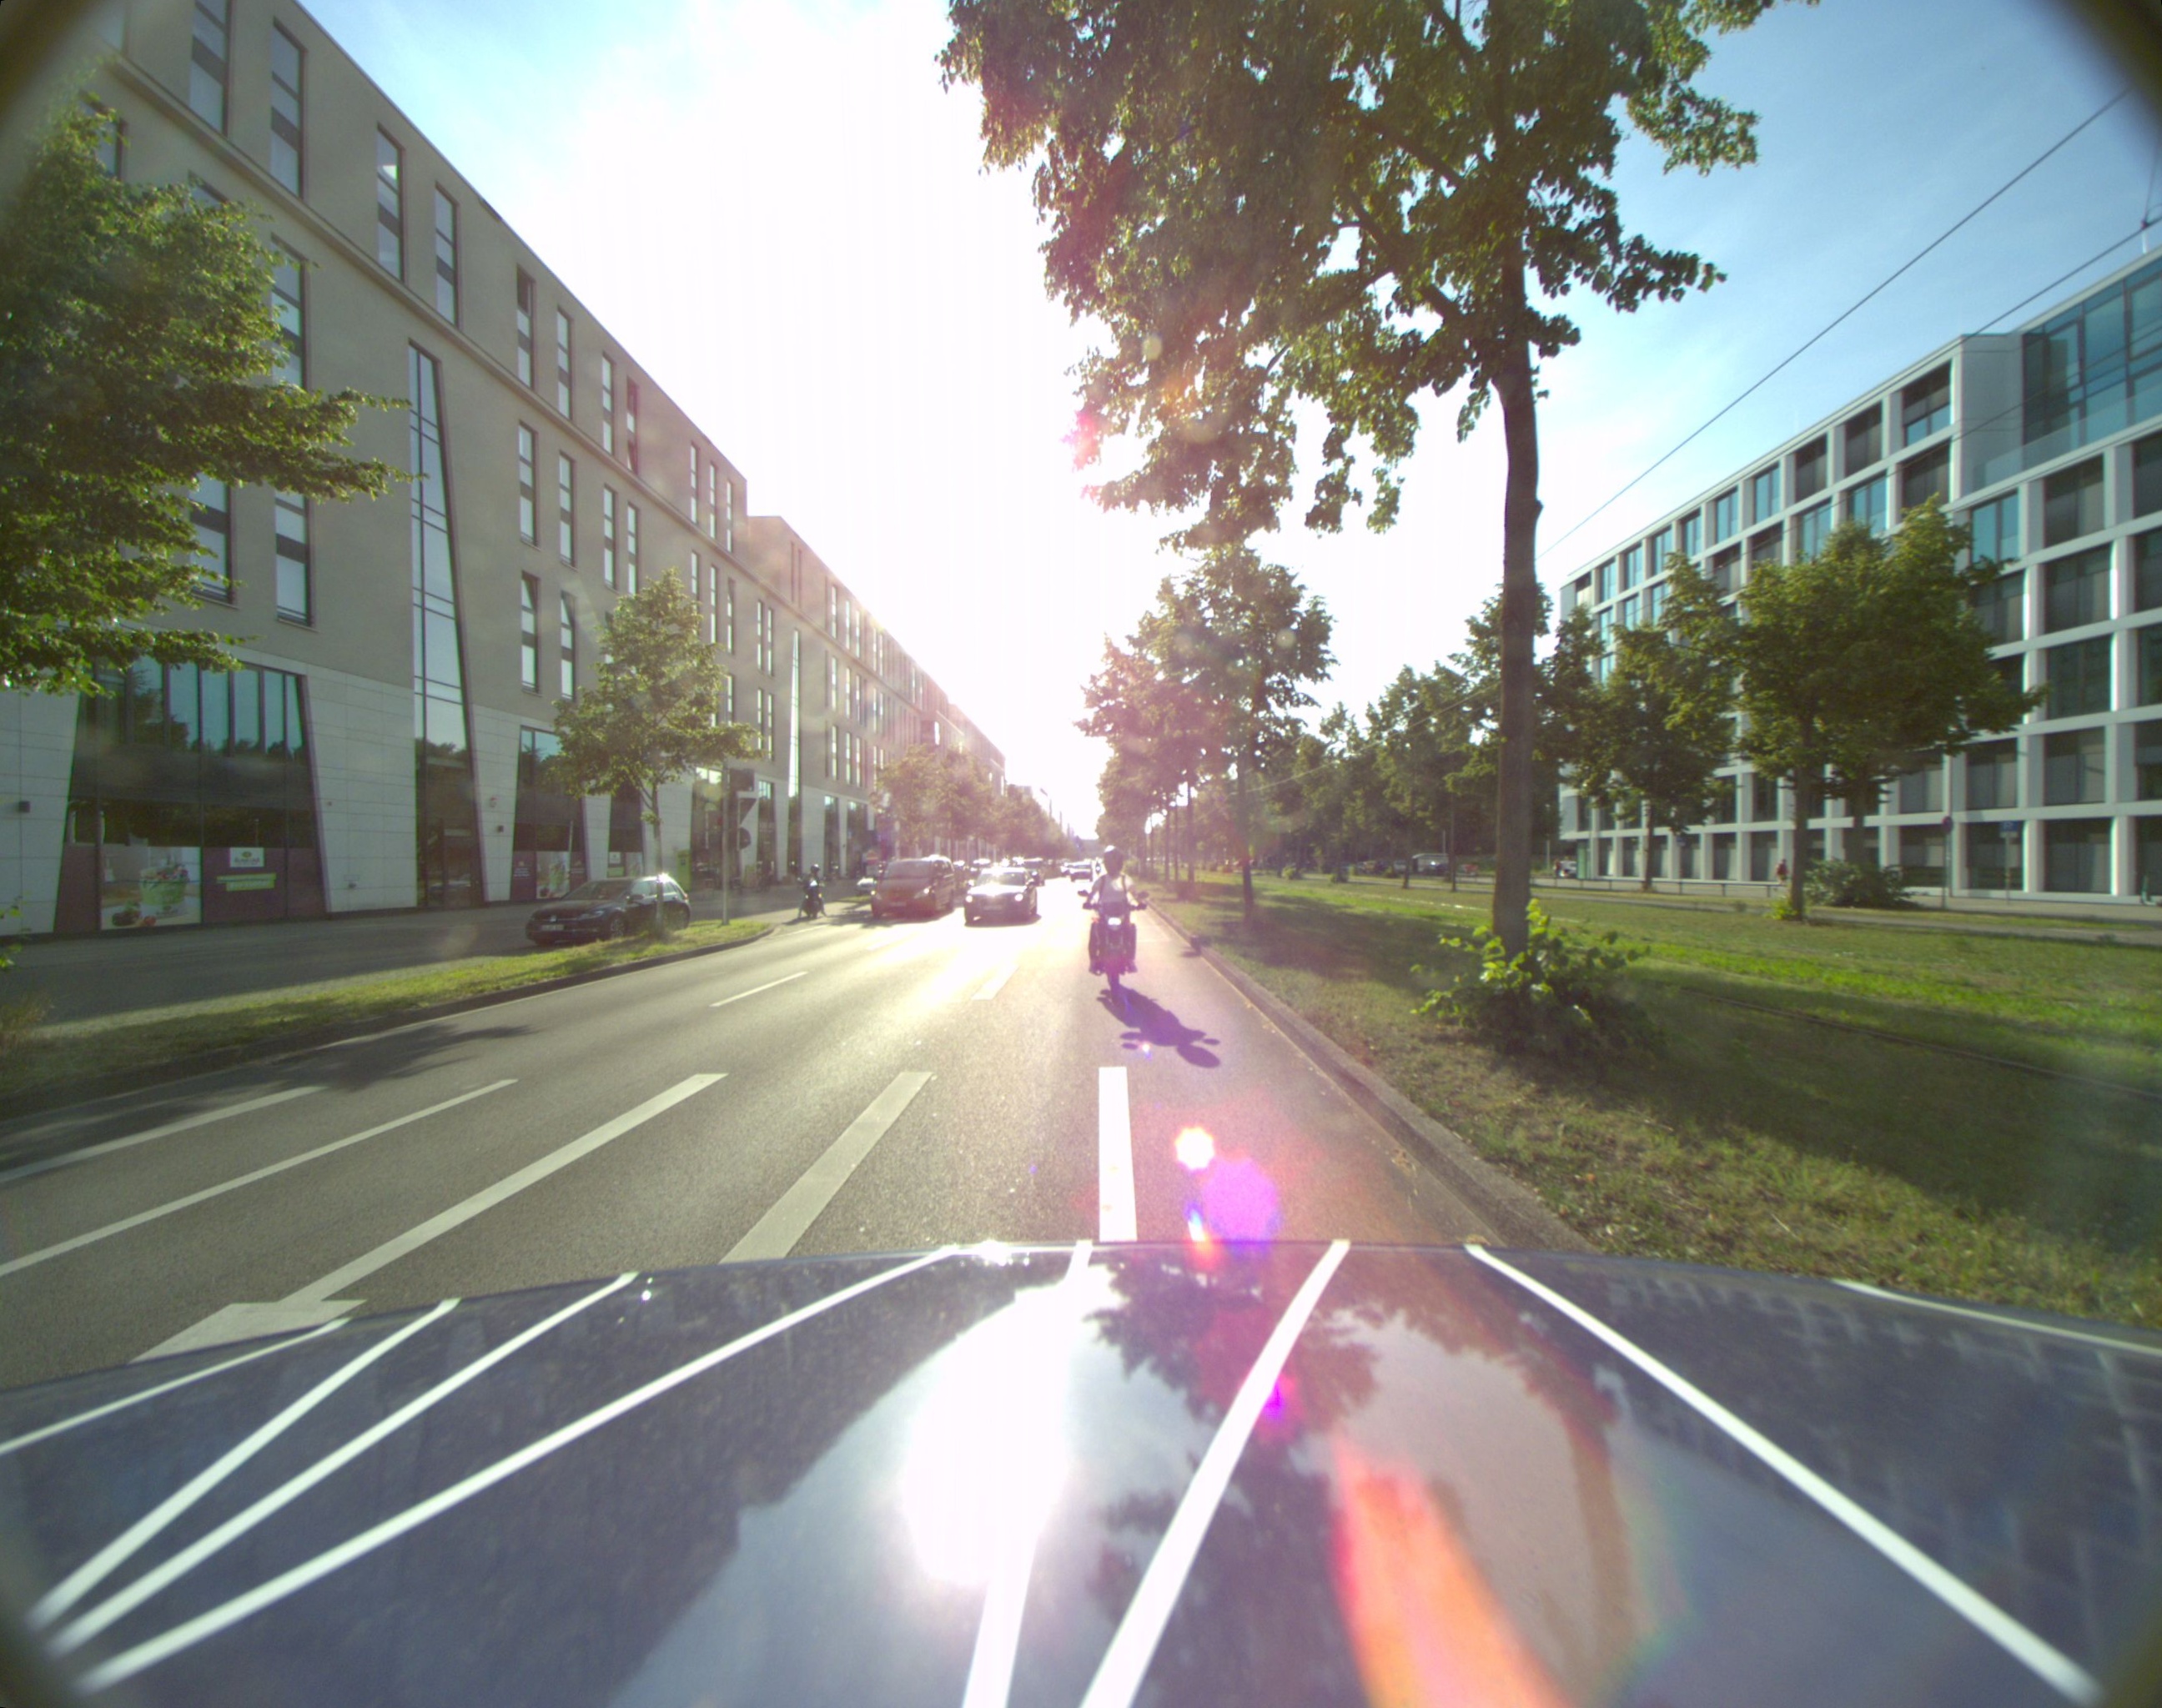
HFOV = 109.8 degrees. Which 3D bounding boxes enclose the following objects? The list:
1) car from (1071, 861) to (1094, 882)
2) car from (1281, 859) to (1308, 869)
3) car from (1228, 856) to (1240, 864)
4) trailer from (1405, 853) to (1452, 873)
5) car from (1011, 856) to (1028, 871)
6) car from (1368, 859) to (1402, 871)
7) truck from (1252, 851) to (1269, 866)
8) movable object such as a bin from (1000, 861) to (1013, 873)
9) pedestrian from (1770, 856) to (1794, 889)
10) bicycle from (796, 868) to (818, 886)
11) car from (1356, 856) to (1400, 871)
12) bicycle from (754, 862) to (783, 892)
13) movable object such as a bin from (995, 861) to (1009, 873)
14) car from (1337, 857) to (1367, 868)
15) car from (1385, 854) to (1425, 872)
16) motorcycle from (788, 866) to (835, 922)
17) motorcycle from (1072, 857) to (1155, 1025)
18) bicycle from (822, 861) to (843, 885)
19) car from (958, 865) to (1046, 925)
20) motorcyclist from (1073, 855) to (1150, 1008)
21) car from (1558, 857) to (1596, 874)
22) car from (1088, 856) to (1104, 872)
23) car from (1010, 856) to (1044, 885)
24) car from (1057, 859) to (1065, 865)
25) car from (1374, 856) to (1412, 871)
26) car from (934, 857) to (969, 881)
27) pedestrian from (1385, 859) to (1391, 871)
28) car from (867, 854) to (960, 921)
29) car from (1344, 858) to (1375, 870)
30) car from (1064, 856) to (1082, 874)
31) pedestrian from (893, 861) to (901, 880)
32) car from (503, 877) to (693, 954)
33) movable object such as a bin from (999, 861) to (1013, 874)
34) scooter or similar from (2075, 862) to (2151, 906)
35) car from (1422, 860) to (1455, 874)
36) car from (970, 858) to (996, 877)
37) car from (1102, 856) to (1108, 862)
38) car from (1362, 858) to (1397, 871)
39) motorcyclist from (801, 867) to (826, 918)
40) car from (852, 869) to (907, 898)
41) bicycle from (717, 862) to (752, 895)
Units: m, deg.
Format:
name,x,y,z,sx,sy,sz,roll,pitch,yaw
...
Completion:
name,x,y,z,sx,sy,sz,roll,pitch,yaw
car,0.170,1.376,61.506,1.739,1.499,4.000,-2,0,1
car,33.076,1.581,117.584,1.689,1.427,4.027,-3,1,-27
car,30.644,1.274,152.319,1.834,1.423,4.475,-2,0,3
trailer,38.517,1.017,84.255,4.373,2.042,1.758,-2,1,5
car,-8.324,1.221,103.546,1.842,1.865,5.030,-2,0,-1
car,38.500,1.390,96.337,3.576,1.417,1.726,-2,1,2
truck,43.449,1.027,184.026,2.894,3.495,7.947,-2,1,6
movable object such as a bin,-8.164,1.467,83.634,1.280,1.229,1.191,-2,1,-2
pedestrian,37.371,0.994,40.515,0.569,1.718,0.691,-2,1,2
bicycle,-17.254,1.454,47.960,0.635,1.077,1.905,0,0,2
car,40.153,1.256,102.808,5.071,1.725,1.886,-2,1,4
bicycle,-17.214,1.261,41.922,0.557,1.558,2.212,-2,1,2
movable object such as a bin,-8.391,1.383,80.793,1.280,1.284,1.178,-2,1,-2
car,40.261,1.284,112.850,3.865,1.477,1.745,-2,1,9
car,38.377,1.099,89.992,4.001,1.936,1.758,-2,1,2
motorcycle,-8.547,1.239,24.193,0.703,1.608,2.011,-2,1,0
motorcycle,0.349,0.902,9.106,0.798,1.659,2.634,-2,1,1
bicycle,-17.109,1.296,52.367,0.557,1.609,2.212,-2,1,2
car,-2.177,1.100,22.002,1.755,1.427,4.036,-2,0,5
motorcyclist,0.351,0.879,9.017,0.814,1.699,0.843,-2,1,1
car,49.001,1.120,75.157,1.851,1.586,4.003,-2,1,13
car,1.646,1.103,83.824,1.644,1.553,3.734,-2,0,1
car,-3.780,1.112,53.937,1.864,1.856,4.778,-2,0,1
car,-5.512,2.090,211.604,1.840,1.521,4.328,-2,0,1
car,38.197,1.177,93.101,4.001,1.633,1.758,-2,1,2
car,-10.122,1.155,59.767,1.902,1.698,4.678,-2,-1,0
pedestrian,36.524,1.321,90.353,0.523,1.472,0.568,-2,1,1
car,-5.379,1.000,25.022,1.803,1.880,4.821,-2,0,1
car,38.700,1.412,105.713,3.655,1.420,1.810,-2,1,4
car,-0.794,1.197,81.883,1.777,1.805,4.000,-2,1,1
pedestrian,-17.619,1.570,72.612,0.538,1.752,0.646,-2,1,2
car,-10.911,1.313,17.576,1.610,1.362,4.157,-2,0,2
movable object such as a bin,-8.119,1.461,82.318,1.280,1.229,1.191,-2,1,-2
scooter or similar,36.952,1.068,27.204,1.933,1.468,0.415,-2,1,6
car,37.783,1.348,80.374,1.683,1.385,3.761,-2,0,-1
car,-9.232,1.254,71.888,1.832,1.701,4.295,-2,0,0
car,7.685,1.663,242.630,1.998,1.735,4.001,-2,-1,1
car,39.463,1.412,100.477,3.996,1.551,1.856,-2,1,4
motorcyclist,-8.572,1.223,24.358,0.625,1.631,0.417,0,1,-2
car,-10.278,1.464,39.037,1.712,1.235,3.905,-2,0,1
bicycle,-17.579,1.220,38.575,0.557,1.562,2.276,-2,1,2
